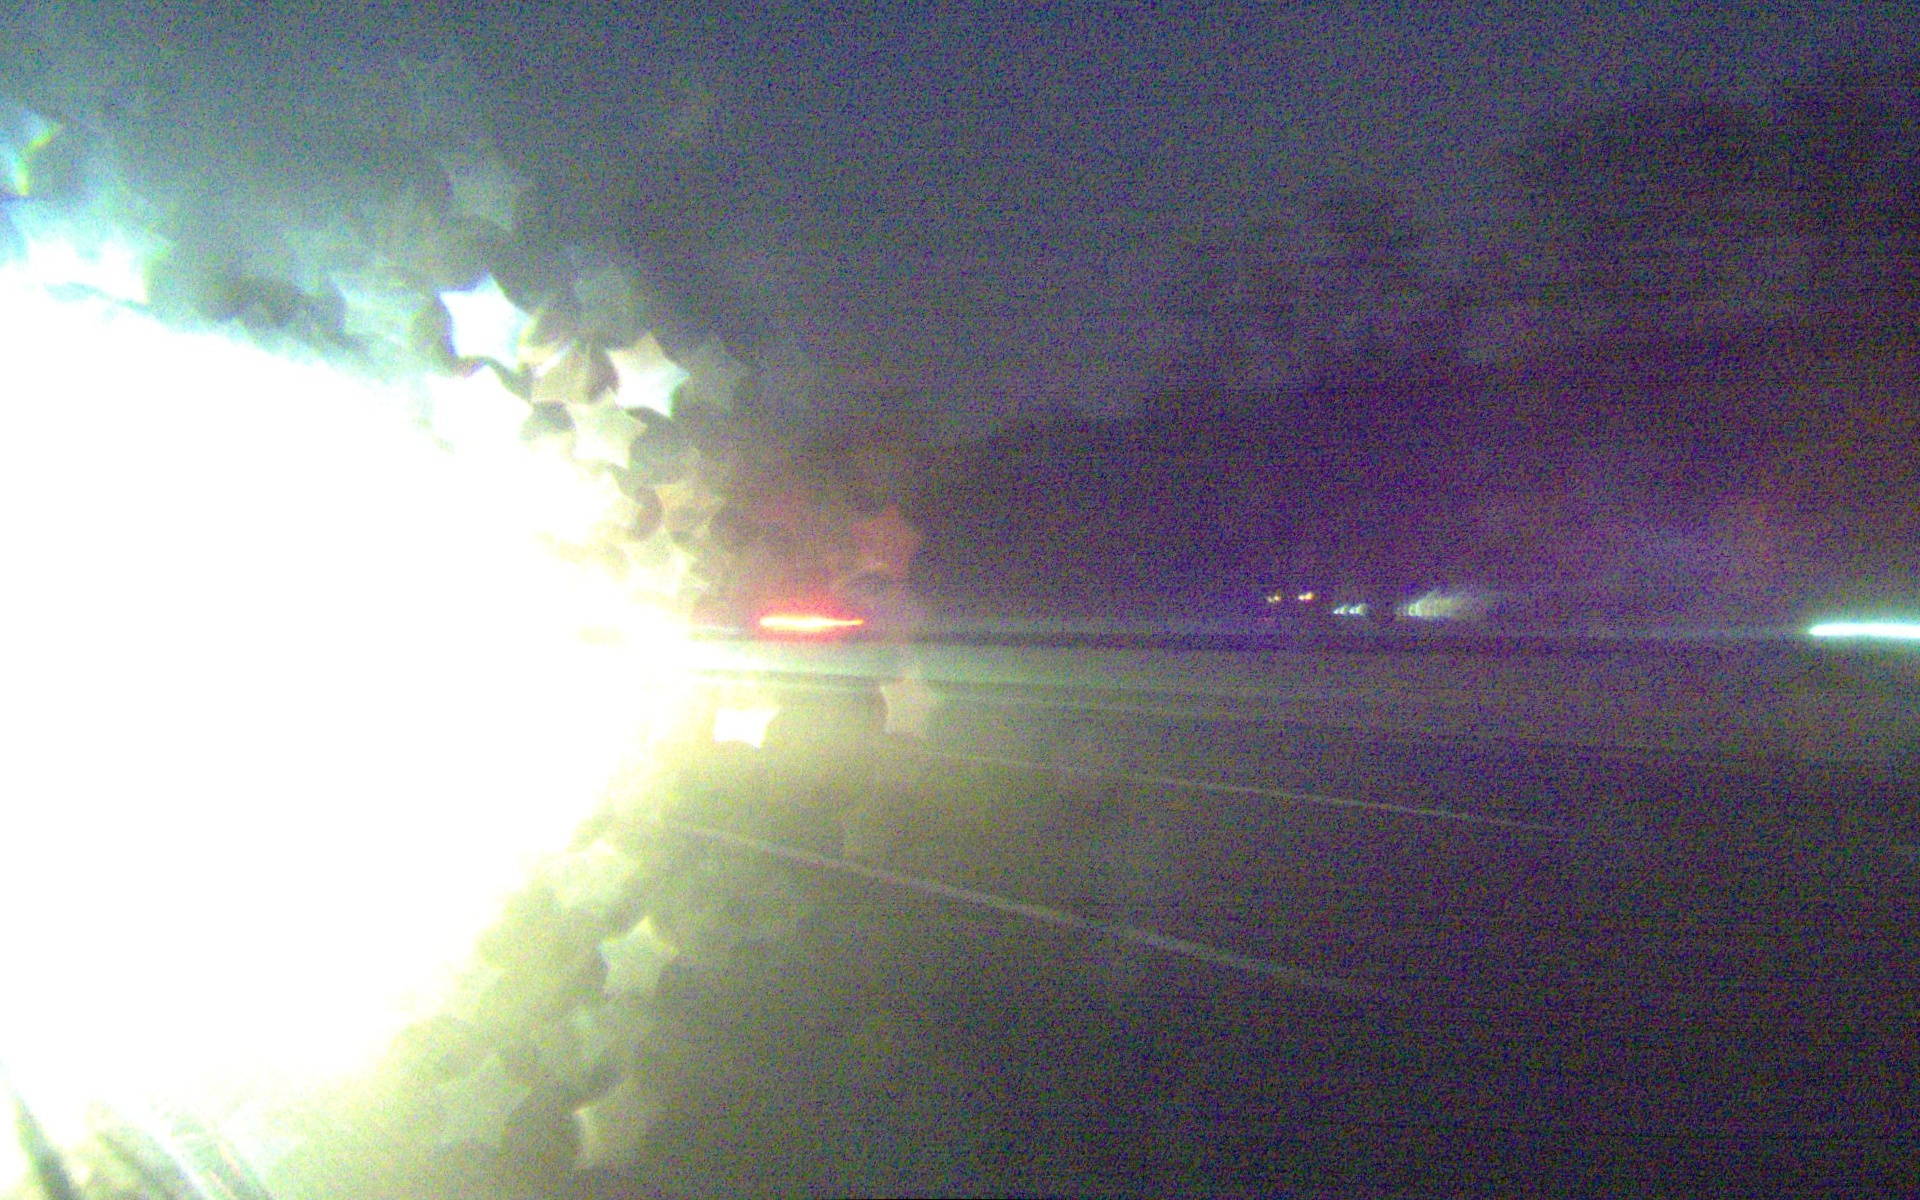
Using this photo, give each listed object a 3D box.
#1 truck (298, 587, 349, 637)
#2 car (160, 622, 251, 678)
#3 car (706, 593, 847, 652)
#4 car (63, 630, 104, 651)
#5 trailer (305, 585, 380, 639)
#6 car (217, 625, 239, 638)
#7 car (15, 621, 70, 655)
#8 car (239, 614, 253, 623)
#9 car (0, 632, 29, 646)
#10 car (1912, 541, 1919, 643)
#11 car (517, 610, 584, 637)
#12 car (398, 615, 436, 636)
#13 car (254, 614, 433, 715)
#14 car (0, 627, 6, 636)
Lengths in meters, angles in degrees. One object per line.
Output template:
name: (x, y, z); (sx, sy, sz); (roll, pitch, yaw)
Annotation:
truck: (-66.785, 1.256, 106.185); (3.227, 5.106, 6.030); (-1, 0, -45)
car: (-30.220, 1.952, 40.479); (4.528, 2.029, 2.115); (-1, 0, 43)
car: (-5.633, 0.680, 30.822); (4.397, 1.608, 1.758); (-1, 2, 40)
car: (-72.902, 3.330, 84.150); (3.872, 1.621, 2.279); (-1, 0, 44)
trailer: (-61.936, 1.177, 101.312); (3.227, 5.106, 13.979); (-1, 0, -45)
car: (-96.977, 4.148, 134.081); (1.756, 1.608, 4.003); (-3, 2, -44)
car: (-48.244, 1.964, 53.184); (4.002, 1.689, 1.971); (-1, 0, 45)
car: (-132.578, 3.430, 187.954); (1.754, 1.608, 4.006); (-4, 1, -40)
car: (-86.095, 3.552, 92.144); (3.420, 1.165, 1.670); (-1, 0, 43)
car: (17.038, -0.175, 14.349); (5.017, 1.608, 1.973); (-1, 1, 41)
car: (-26.484, 1.499, 65.353); (5.147, 1.608, 1.758); (-1, 2, 40)
car: (-45.807, 2.129, 85.338); (1.755, 1.608, 4.228); (-3, 2, -43)
car: (-11.443, 1.083, 18.658); (1.894, 1.606, 4.236); (-1, 0, -45)
car: (-147.894, 4.863, 155.312); (4.001, 1.397, 1.972); (-1, 2, 44)
